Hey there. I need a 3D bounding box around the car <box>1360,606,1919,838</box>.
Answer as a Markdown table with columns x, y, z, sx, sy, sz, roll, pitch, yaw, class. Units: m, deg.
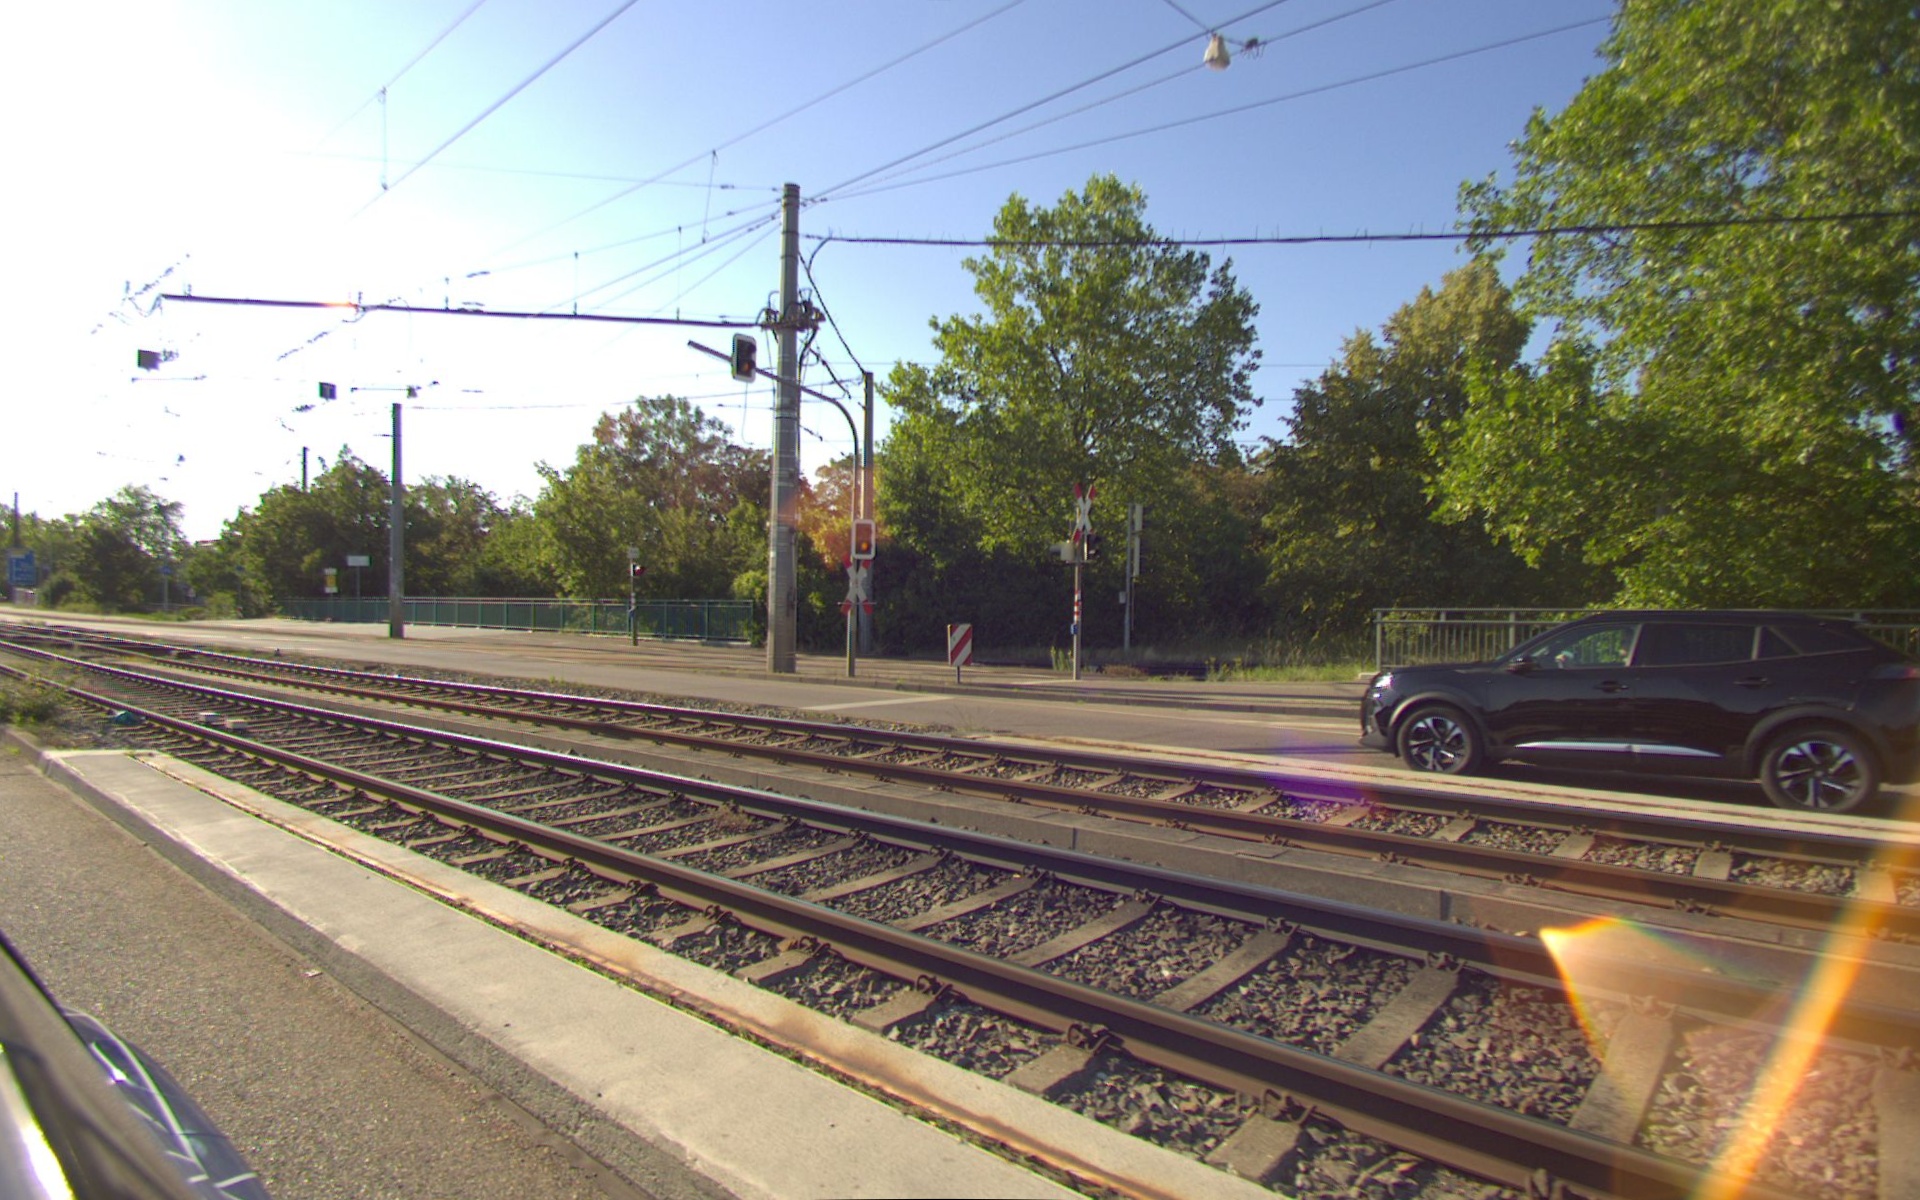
| x | y | z | sx | sy | sz | roll | pitch | yaw | class |
| --- | --- | --- | --- | --- | --- | --- | --- | --- | --- |
| 5.826 | 0.830 | 8.545 | 4.217 | 1.513 | 1.829 | 0 | 0 | 41 | car |
